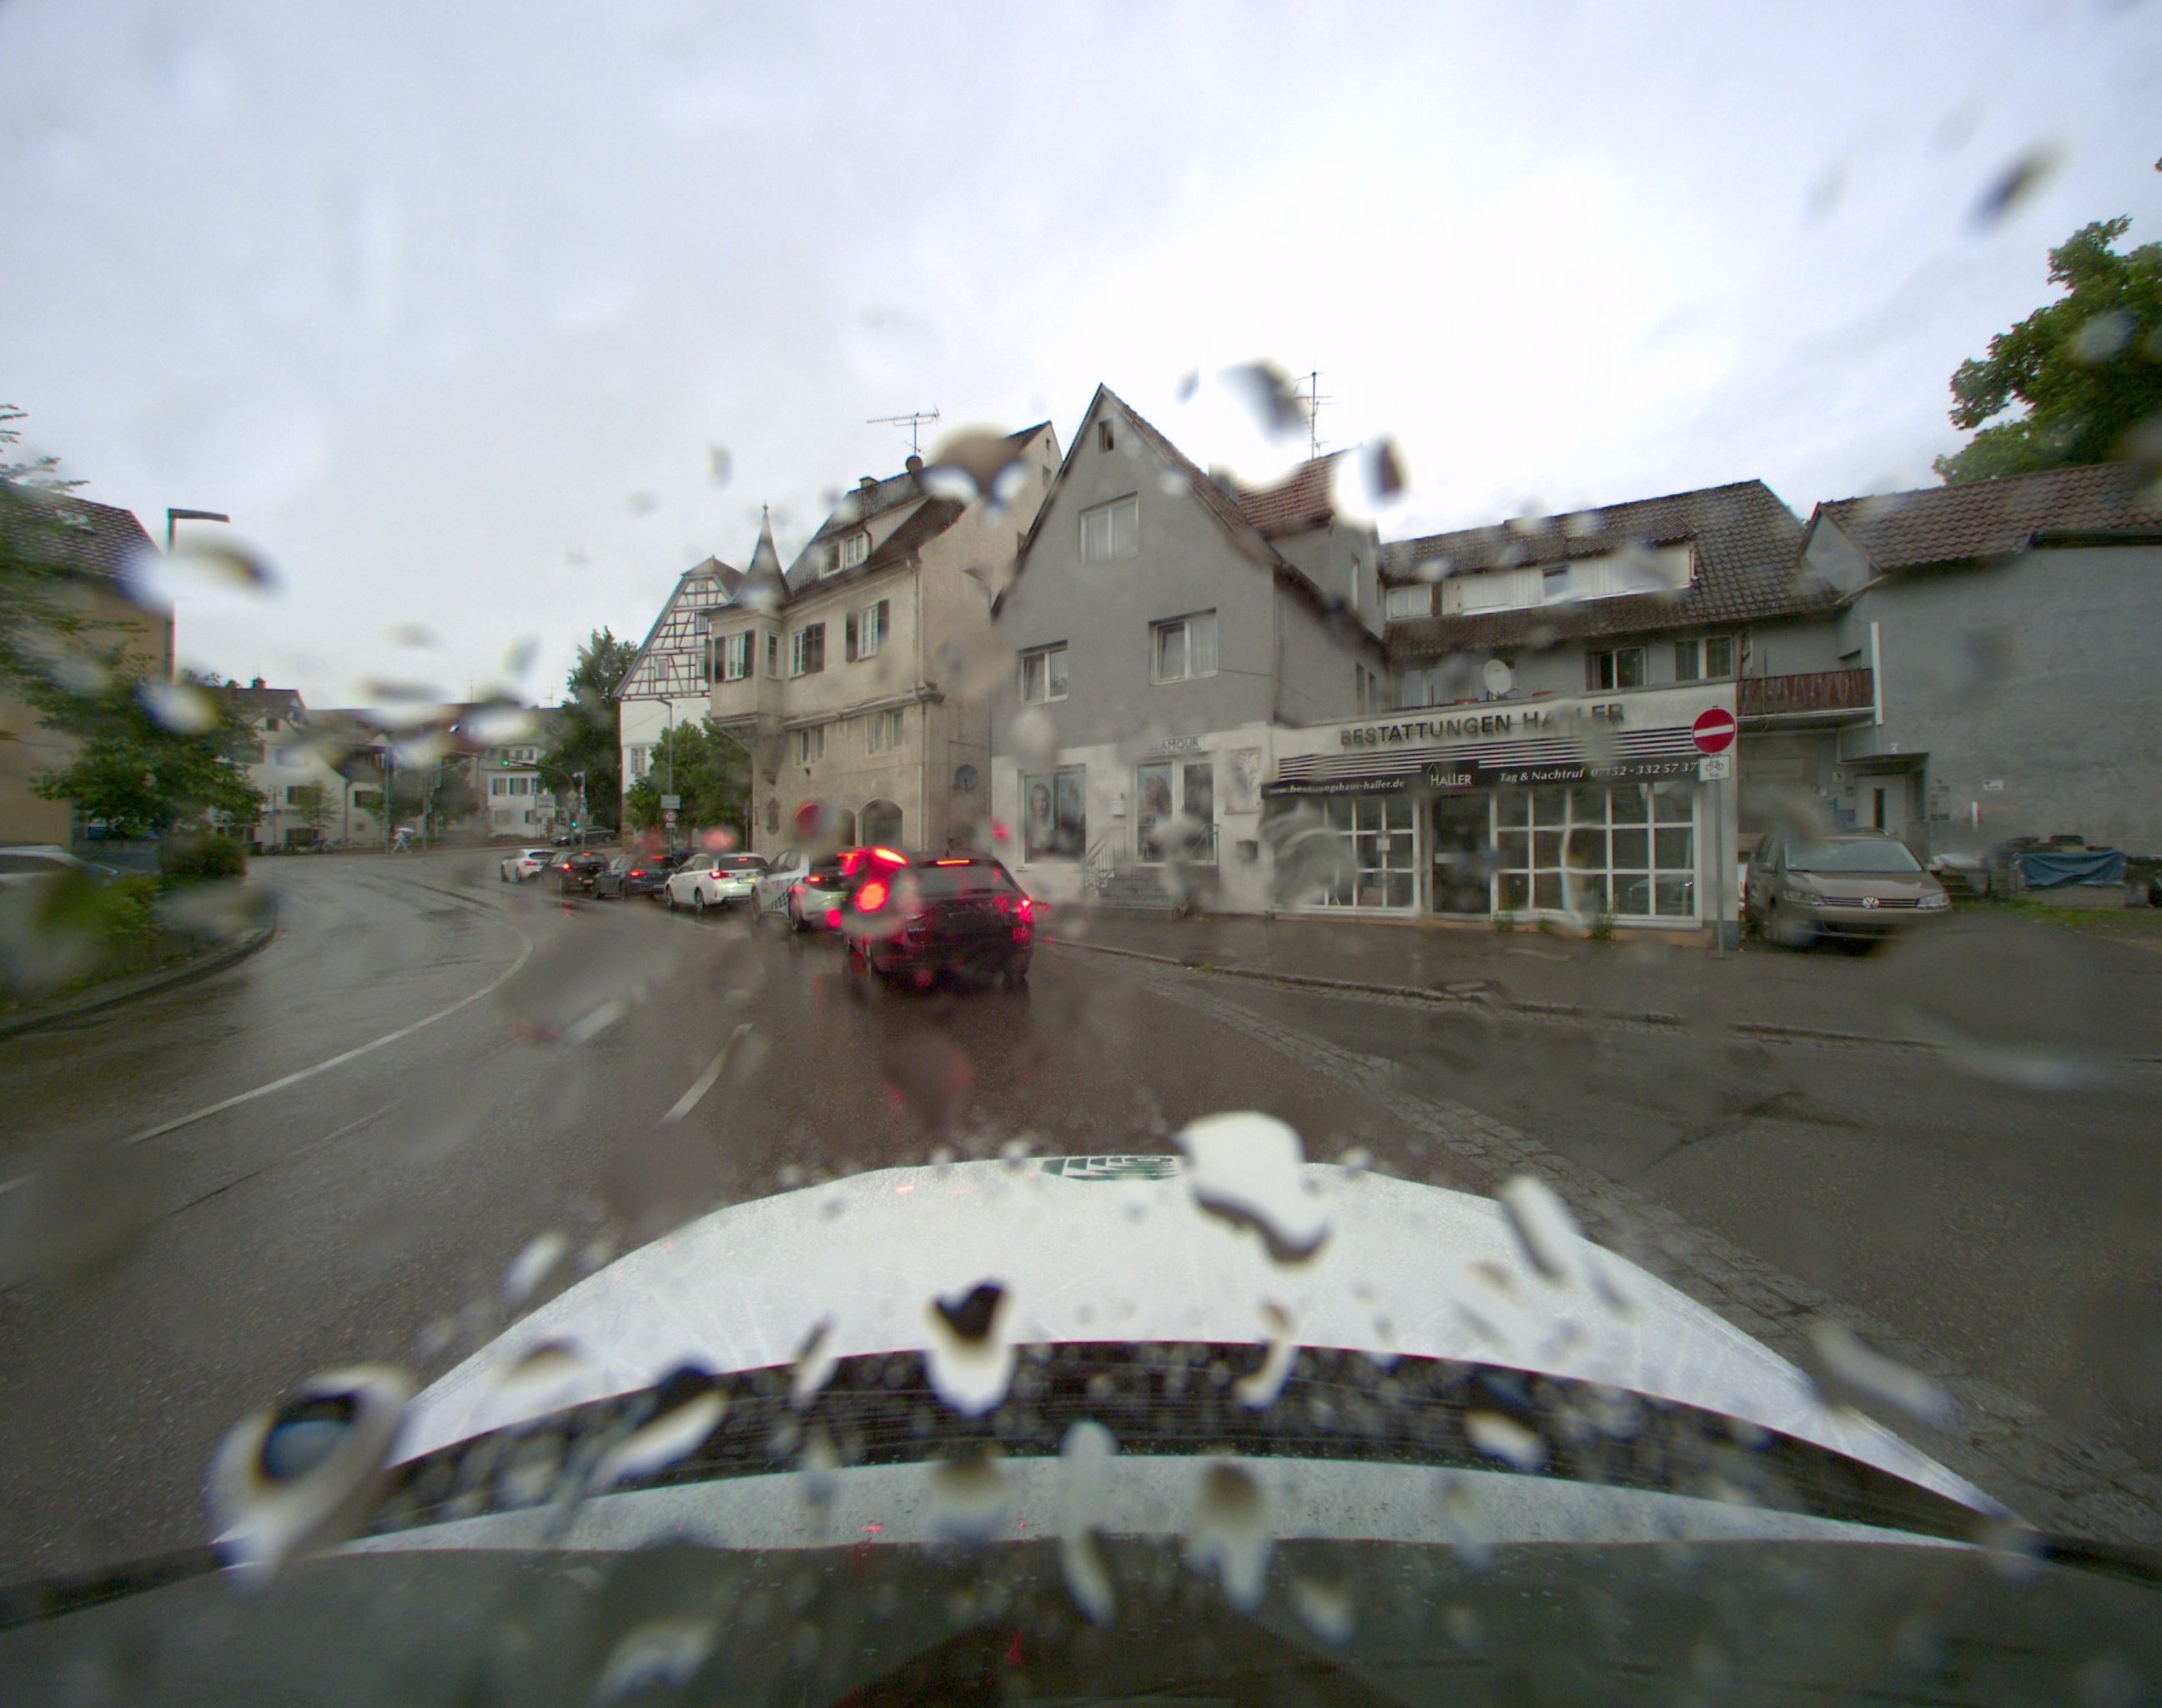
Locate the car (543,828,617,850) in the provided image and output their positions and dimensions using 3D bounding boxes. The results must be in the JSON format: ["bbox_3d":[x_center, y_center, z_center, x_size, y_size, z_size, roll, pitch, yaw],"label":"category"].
[{"bbox_3d":[-37.544,-1.101,61.134,1.632,1.389,4.555,7,3,23],"label":"car"}]

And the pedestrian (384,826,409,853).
[{"bbox_3d":[-45.507,-0.973,54.157,0.992,1.742,1.156,-1,0,42],"label":"pedestrian"}]

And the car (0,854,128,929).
[{"bbox_3d":[-22.318,0.769,16.495,1.692,1.455,3.558,0,1,24],"label":"car"}]

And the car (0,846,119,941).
[{"bbox_3d":[-20.122,0.717,14.460,1.692,1.685,3.558,0,1,24],"label":"car"}]

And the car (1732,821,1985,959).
[{"bbox_3d":[11.730,0.376,12.693,1.905,1.727,4.698,-1,2,32],"label":"car"}]

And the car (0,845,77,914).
[{"bbox_3d":[-26.193,0.614,18.729,1.692,1.576,3.558,0,1,24],"label":"car"}]

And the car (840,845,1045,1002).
[{"bbox_3d":[-1.936,0.644,10.172,1.738,1.450,4.212,-2,2,-21],"label":"car"}]

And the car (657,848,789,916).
[{"bbox_3d":[-9.114,0.613,20.587,1.801,1.465,4.114,-3,2,-42],"label":"car"}]

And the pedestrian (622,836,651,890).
[{"bbox_3d":[-19.641,0.387,35.974,0.872,2.326,1.216,-1,0,-40],"label":"pedestrian"}]

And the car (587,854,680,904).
[{"bbox_3d":[-14.147,0.729,25.658,3.721,1.361,1.533,1,2,44],"label":"car"}]

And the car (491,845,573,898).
[{"bbox_3d":[-23.535,0.692,34.871,3.911,2.090,1.992,1,2,42],"label":"car"}]

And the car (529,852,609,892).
[{"bbox_3d":[-18.934,0.626,30.087,3.579,1.312,1.678,1,3,44],"label":"car"}]

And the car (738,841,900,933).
[{"bbox_3d":[-5.297,0.563,16.124,1.803,1.517,4.194,-2,1,-36],"label":"car"}]
